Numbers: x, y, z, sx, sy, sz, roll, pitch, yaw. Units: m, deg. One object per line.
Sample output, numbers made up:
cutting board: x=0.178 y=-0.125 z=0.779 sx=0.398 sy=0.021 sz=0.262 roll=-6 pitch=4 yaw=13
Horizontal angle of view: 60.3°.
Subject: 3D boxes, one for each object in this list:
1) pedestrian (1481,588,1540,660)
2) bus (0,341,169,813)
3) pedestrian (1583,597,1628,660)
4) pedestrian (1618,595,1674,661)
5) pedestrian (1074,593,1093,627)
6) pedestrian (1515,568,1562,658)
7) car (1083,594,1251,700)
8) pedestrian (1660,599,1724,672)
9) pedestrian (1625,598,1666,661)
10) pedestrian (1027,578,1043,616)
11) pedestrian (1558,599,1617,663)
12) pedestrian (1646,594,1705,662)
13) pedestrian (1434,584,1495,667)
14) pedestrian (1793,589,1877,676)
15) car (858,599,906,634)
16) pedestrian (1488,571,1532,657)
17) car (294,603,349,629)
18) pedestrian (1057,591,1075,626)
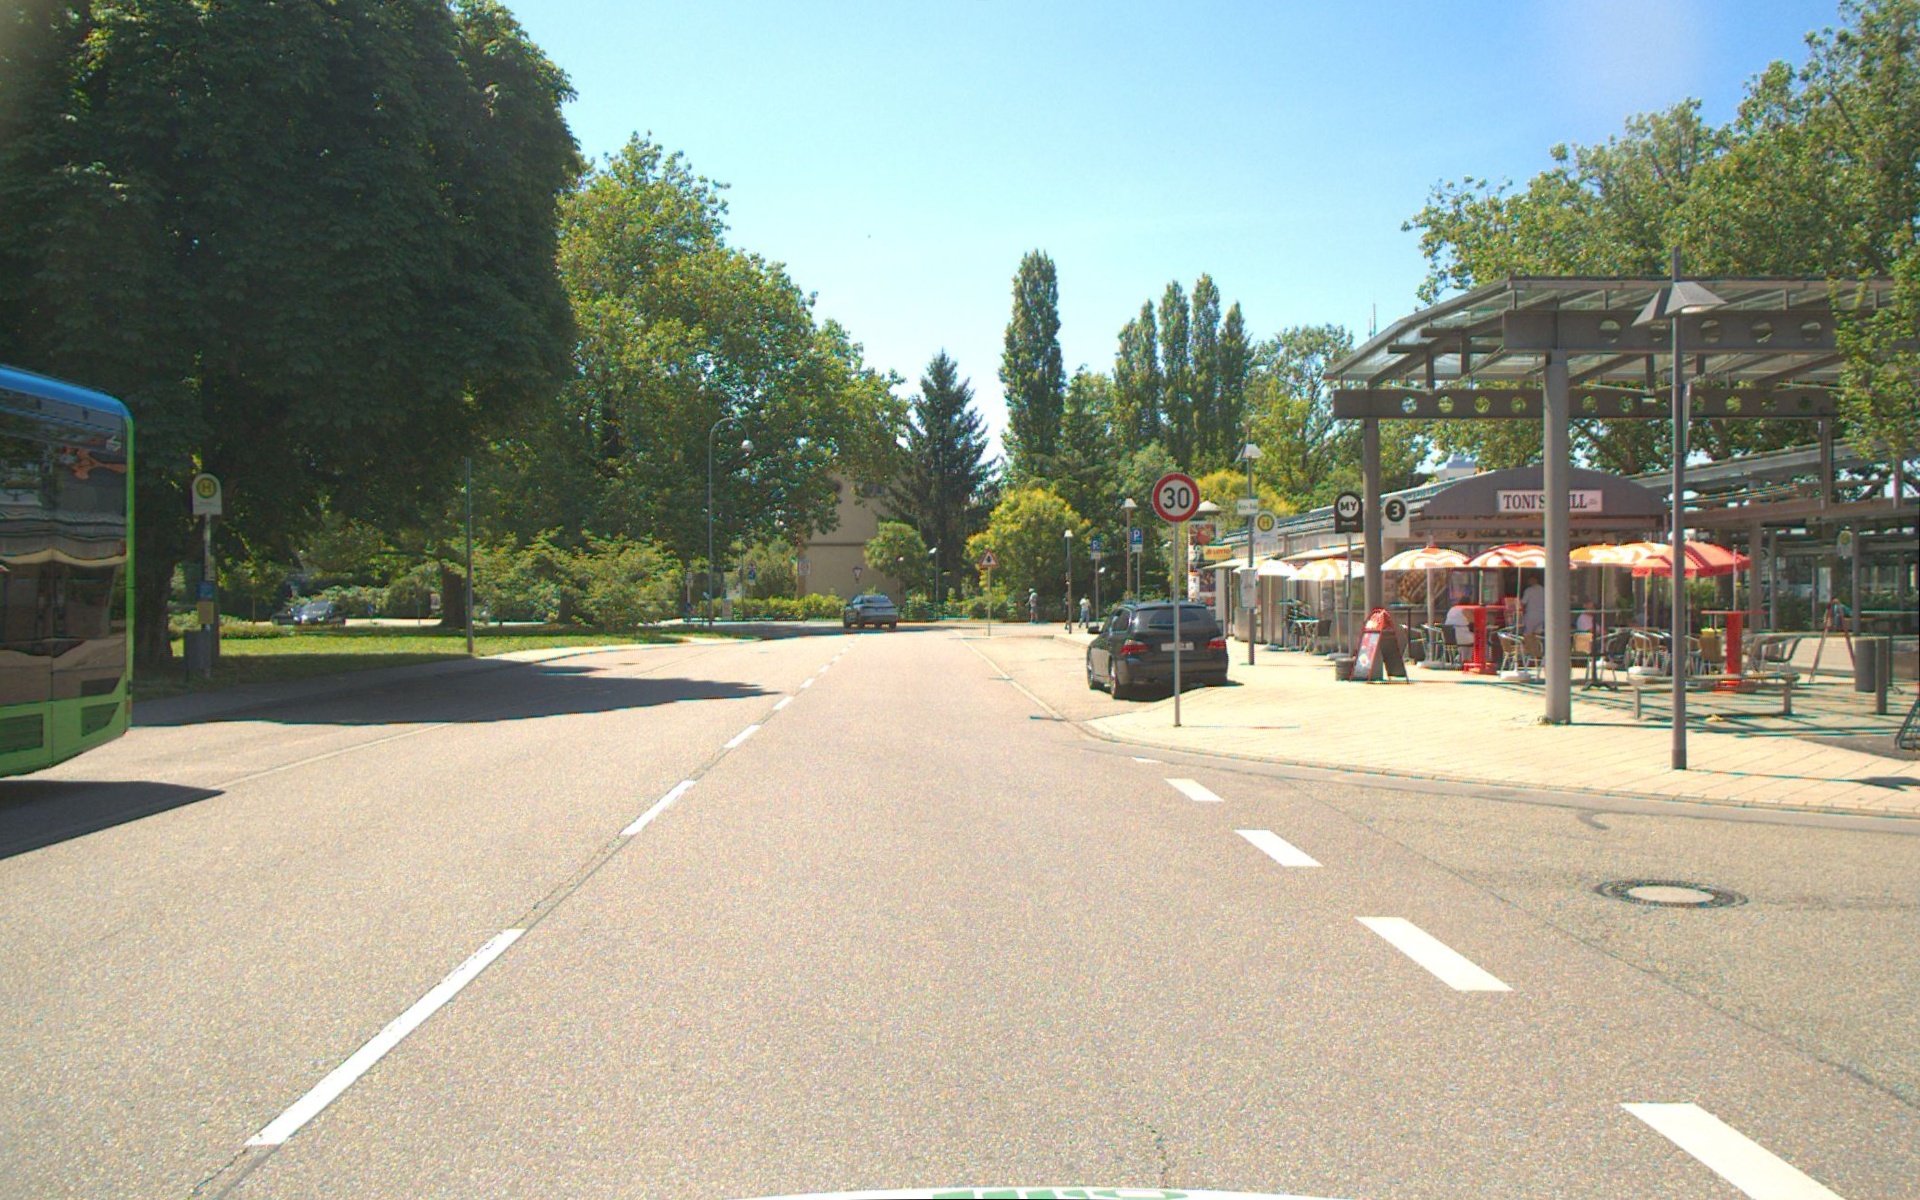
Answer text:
pedestrian: x=10.372 y=0.450 z=31.160 sx=0.885 sy=1.335 sz=0.679 roll=0 pitch=0 yaw=-37
bus: x=-8.050 y=-0.140 z=8.147 sx=2.752 sy=3.340 sz=12.420 roll=0 pitch=0 yaw=-2
pedestrian: x=12.907 y=0.563 z=33.071 sx=0.642 sy=1.226 sz=0.592 roll=2 pitch=-1 yaw=-3
pedestrian: x=13.263 y=0.539 z=31.974 sx=0.743 sy=1.226 sz=0.737 roll=2 pitch=-1 yaw=-2
pedestrian: x=6.077 y=0.492 z=81.330 sx=0.706 sy=1.678 sz=0.750 roll=0 pitch=-2 yaw=26
pedestrian: x=11.525 y=0.264 z=32.953 sx=0.672 sy=1.768 sz=0.707 roll=0 pitch=0 yaw=-2
car: x=3.283 y=0.697 z=27.172 sx=1.888 sy=1.486 sz=4.722 roll=-3 pitch=0 yaw=-3
pedestrian: x=11.979 y=0.570 z=27.097 sx=0.672 sy=1.181 sz=0.895 roll=0 pitch=0 yaw=2
pedestrian: x=13.707 y=0.589 z=33.096 sx=0.641 sy=1.226 sz=0.593 roll=2 pitch=-1 yaw=13
pedestrian: x=4.013 y=-0.166 z=88.461 sx=0.836 sy=2.000 sz=0.807 roll=0 pitch=0 yaw=7
pedestrian: x=11.807 y=0.574 z=31.116 sx=0.885 sy=1.181 sz=0.679 roll=0 pitch=0 yaw=-37
pedestrian: x=13.353 y=0.528 z=30.891 sx=0.743 sy=1.226 sz=0.737 roll=2 pitch=-1 yaw=-2
pedestrian: x=9.002 y=0.443 z=29.513 sx=0.886 sy=1.442 sz=0.679 roll=0 pitch=0 yaw=-40
pedestrian: x=13.380 y=0.491 z=25.306 sx=0.828 sy=1.300 sz=0.895 roll=0 pitch=0 yaw=2
car: x=-3.871 y=0.793 z=82.623 sx=1.941 sy=1.655 sz=4.780 roll=-1 pitch=0 yaw=2
pedestrian: x=11.484 y=0.295 z=34.560 sx=0.672 sy=1.768 sz=0.707 roll=0 pitch=0 yaw=-2
car: x=-37.372 y=0.934 z=96.830 sx=1.518 sy=1.435 sz=3.804 roll=0 pitch=0 yaw=4
pedestrian: x=5.135 y=0.398 z=79.900 sx=0.623 sy=1.678 sz=0.750 roll=0 pitch=-2 yaw=26
